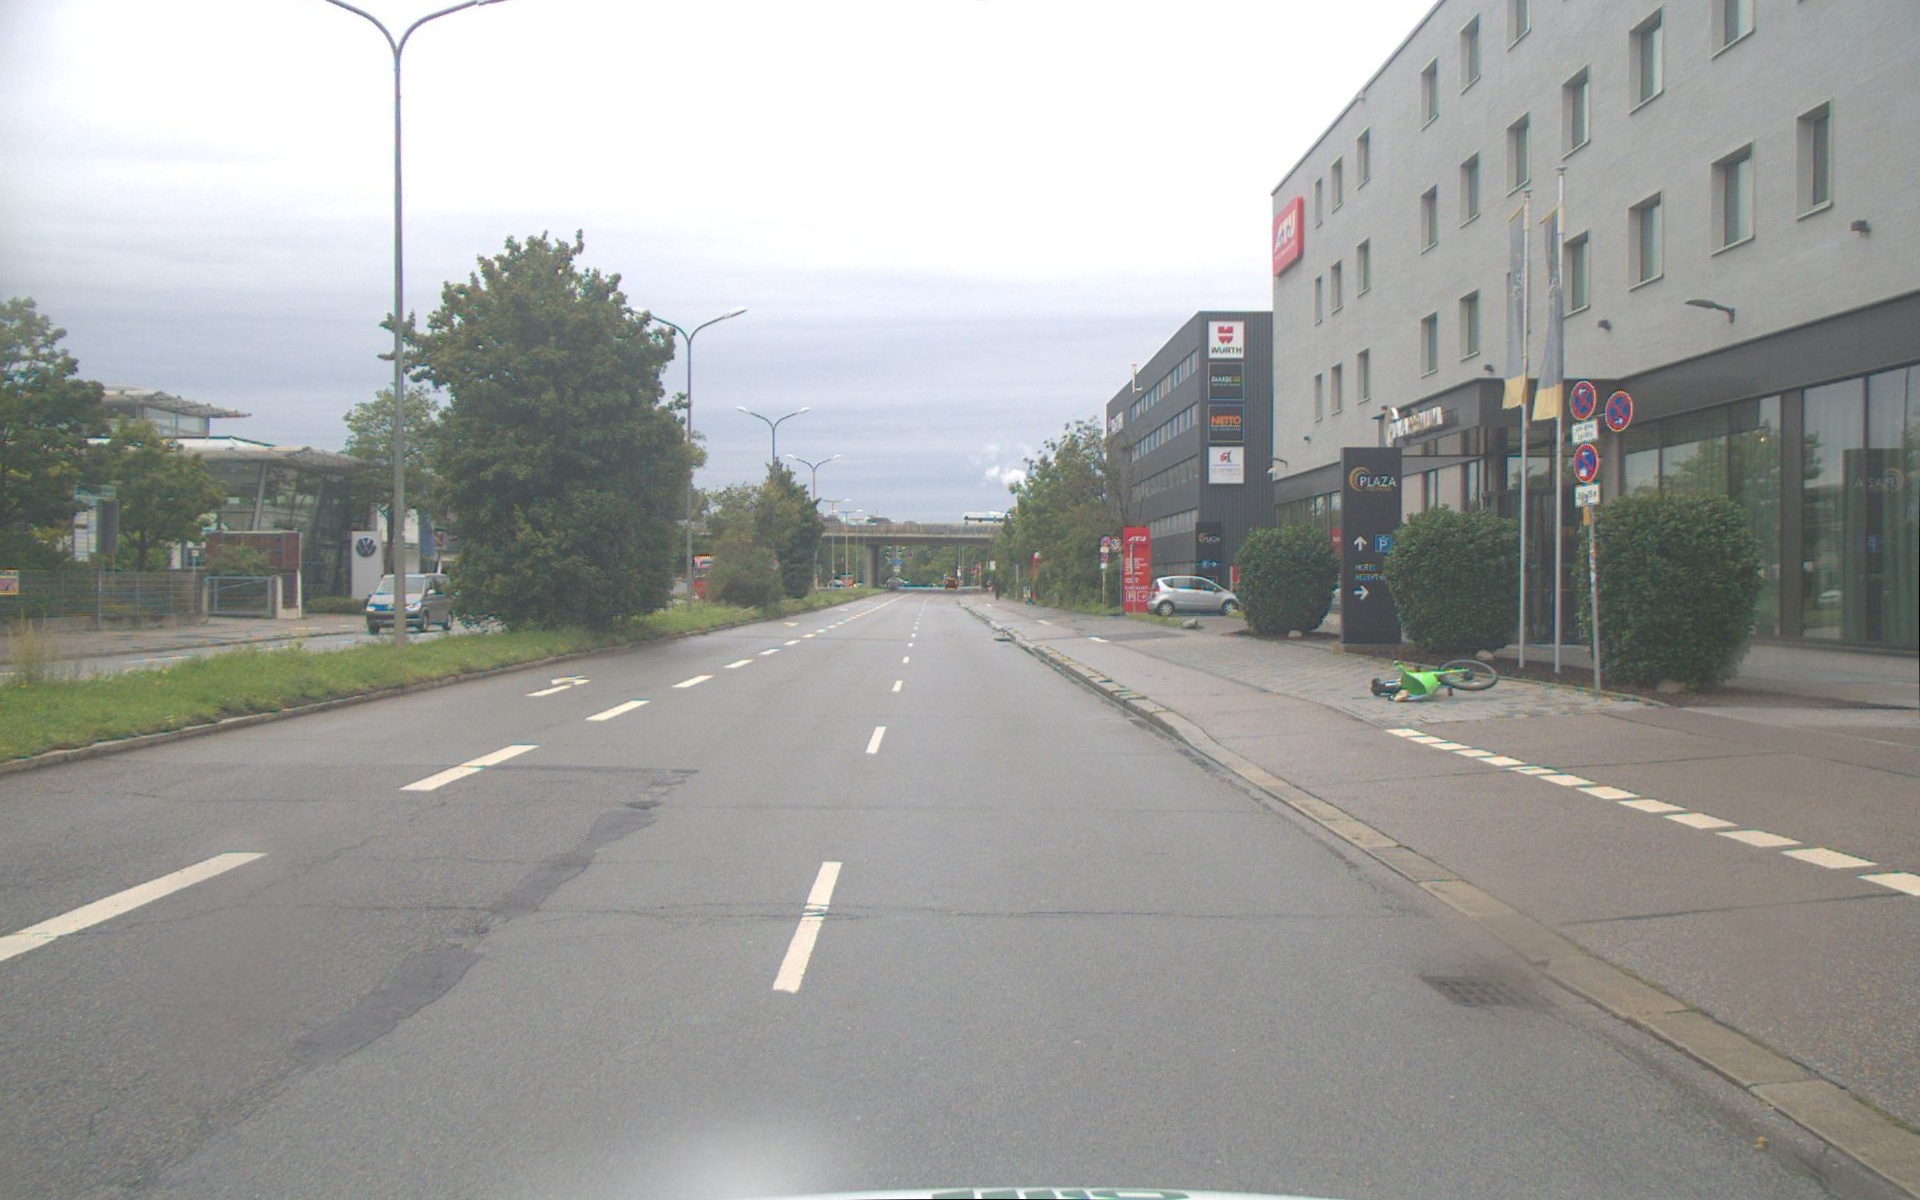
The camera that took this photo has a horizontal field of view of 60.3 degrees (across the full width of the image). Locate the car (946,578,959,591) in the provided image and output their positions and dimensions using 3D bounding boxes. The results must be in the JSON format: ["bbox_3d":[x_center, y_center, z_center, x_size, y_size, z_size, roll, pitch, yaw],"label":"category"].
[{"bbox_3d":[-1.131,-2.339,249.461,1.775,2.049,3.834,1,1,0],"label":"car"}]

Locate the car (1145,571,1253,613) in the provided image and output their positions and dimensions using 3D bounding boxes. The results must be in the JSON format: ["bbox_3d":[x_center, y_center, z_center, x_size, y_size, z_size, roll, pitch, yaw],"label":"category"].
[{"bbox_3d":[9.443,-0.316,65.516,3.933,1.585,1.819,1,1,-3],"label":"car"}]

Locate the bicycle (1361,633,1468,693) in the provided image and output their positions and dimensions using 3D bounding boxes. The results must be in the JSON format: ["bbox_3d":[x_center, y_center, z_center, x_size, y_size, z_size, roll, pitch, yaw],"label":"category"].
[{"bbox_3d":[5.247,0.714,19.196,0.705,0.558,1.732,-4,1,-1],"label":"bicycle"}]

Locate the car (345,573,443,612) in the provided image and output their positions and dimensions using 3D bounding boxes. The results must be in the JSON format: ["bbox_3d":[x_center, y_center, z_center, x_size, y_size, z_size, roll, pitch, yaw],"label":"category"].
[{"bbox_3d":[-28.846,-0.397,84.264,4.572,1.874,1.787,-2,1,-25],"label":"car"}]

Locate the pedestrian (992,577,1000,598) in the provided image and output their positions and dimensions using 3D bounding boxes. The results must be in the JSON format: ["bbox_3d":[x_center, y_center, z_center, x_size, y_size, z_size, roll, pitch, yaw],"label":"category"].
[{"bbox_3d":[3.247,-1.156,149.743,0.675,1.909,0.662,-1,0,-2],"label":"pedestrian"}]

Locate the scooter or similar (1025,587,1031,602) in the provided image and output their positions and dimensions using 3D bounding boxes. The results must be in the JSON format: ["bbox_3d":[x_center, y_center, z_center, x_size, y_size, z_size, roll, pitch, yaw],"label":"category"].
[{"bbox_3d":[4.819,-0.398,116.782,0.298,1.021,1.219,-1,1,-4],"label":"scooter or similar"}]

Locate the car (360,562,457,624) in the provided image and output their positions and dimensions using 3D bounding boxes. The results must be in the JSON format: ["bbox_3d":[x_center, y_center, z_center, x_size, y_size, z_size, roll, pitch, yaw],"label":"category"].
[{"bbox_3d":[-18.789,-0.254,56.506,1.953,1.995,4.323,-2,1,-2],"label":"car"}]

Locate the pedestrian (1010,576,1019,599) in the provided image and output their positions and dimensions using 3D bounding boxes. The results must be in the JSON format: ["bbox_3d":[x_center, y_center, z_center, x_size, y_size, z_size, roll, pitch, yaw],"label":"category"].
[{"bbox_3d":[4.593,-1.036,140.177,0.675,1.909,0.662,-1,0,-2],"label":"pedestrian"}]

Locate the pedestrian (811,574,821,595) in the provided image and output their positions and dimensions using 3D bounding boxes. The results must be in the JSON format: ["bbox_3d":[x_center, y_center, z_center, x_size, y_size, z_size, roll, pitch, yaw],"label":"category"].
[{"bbox_3d":[-11.250,-1.231,129.212,0.646,1.645,0.691,-1,1,4],"label":"pedestrian"}]
